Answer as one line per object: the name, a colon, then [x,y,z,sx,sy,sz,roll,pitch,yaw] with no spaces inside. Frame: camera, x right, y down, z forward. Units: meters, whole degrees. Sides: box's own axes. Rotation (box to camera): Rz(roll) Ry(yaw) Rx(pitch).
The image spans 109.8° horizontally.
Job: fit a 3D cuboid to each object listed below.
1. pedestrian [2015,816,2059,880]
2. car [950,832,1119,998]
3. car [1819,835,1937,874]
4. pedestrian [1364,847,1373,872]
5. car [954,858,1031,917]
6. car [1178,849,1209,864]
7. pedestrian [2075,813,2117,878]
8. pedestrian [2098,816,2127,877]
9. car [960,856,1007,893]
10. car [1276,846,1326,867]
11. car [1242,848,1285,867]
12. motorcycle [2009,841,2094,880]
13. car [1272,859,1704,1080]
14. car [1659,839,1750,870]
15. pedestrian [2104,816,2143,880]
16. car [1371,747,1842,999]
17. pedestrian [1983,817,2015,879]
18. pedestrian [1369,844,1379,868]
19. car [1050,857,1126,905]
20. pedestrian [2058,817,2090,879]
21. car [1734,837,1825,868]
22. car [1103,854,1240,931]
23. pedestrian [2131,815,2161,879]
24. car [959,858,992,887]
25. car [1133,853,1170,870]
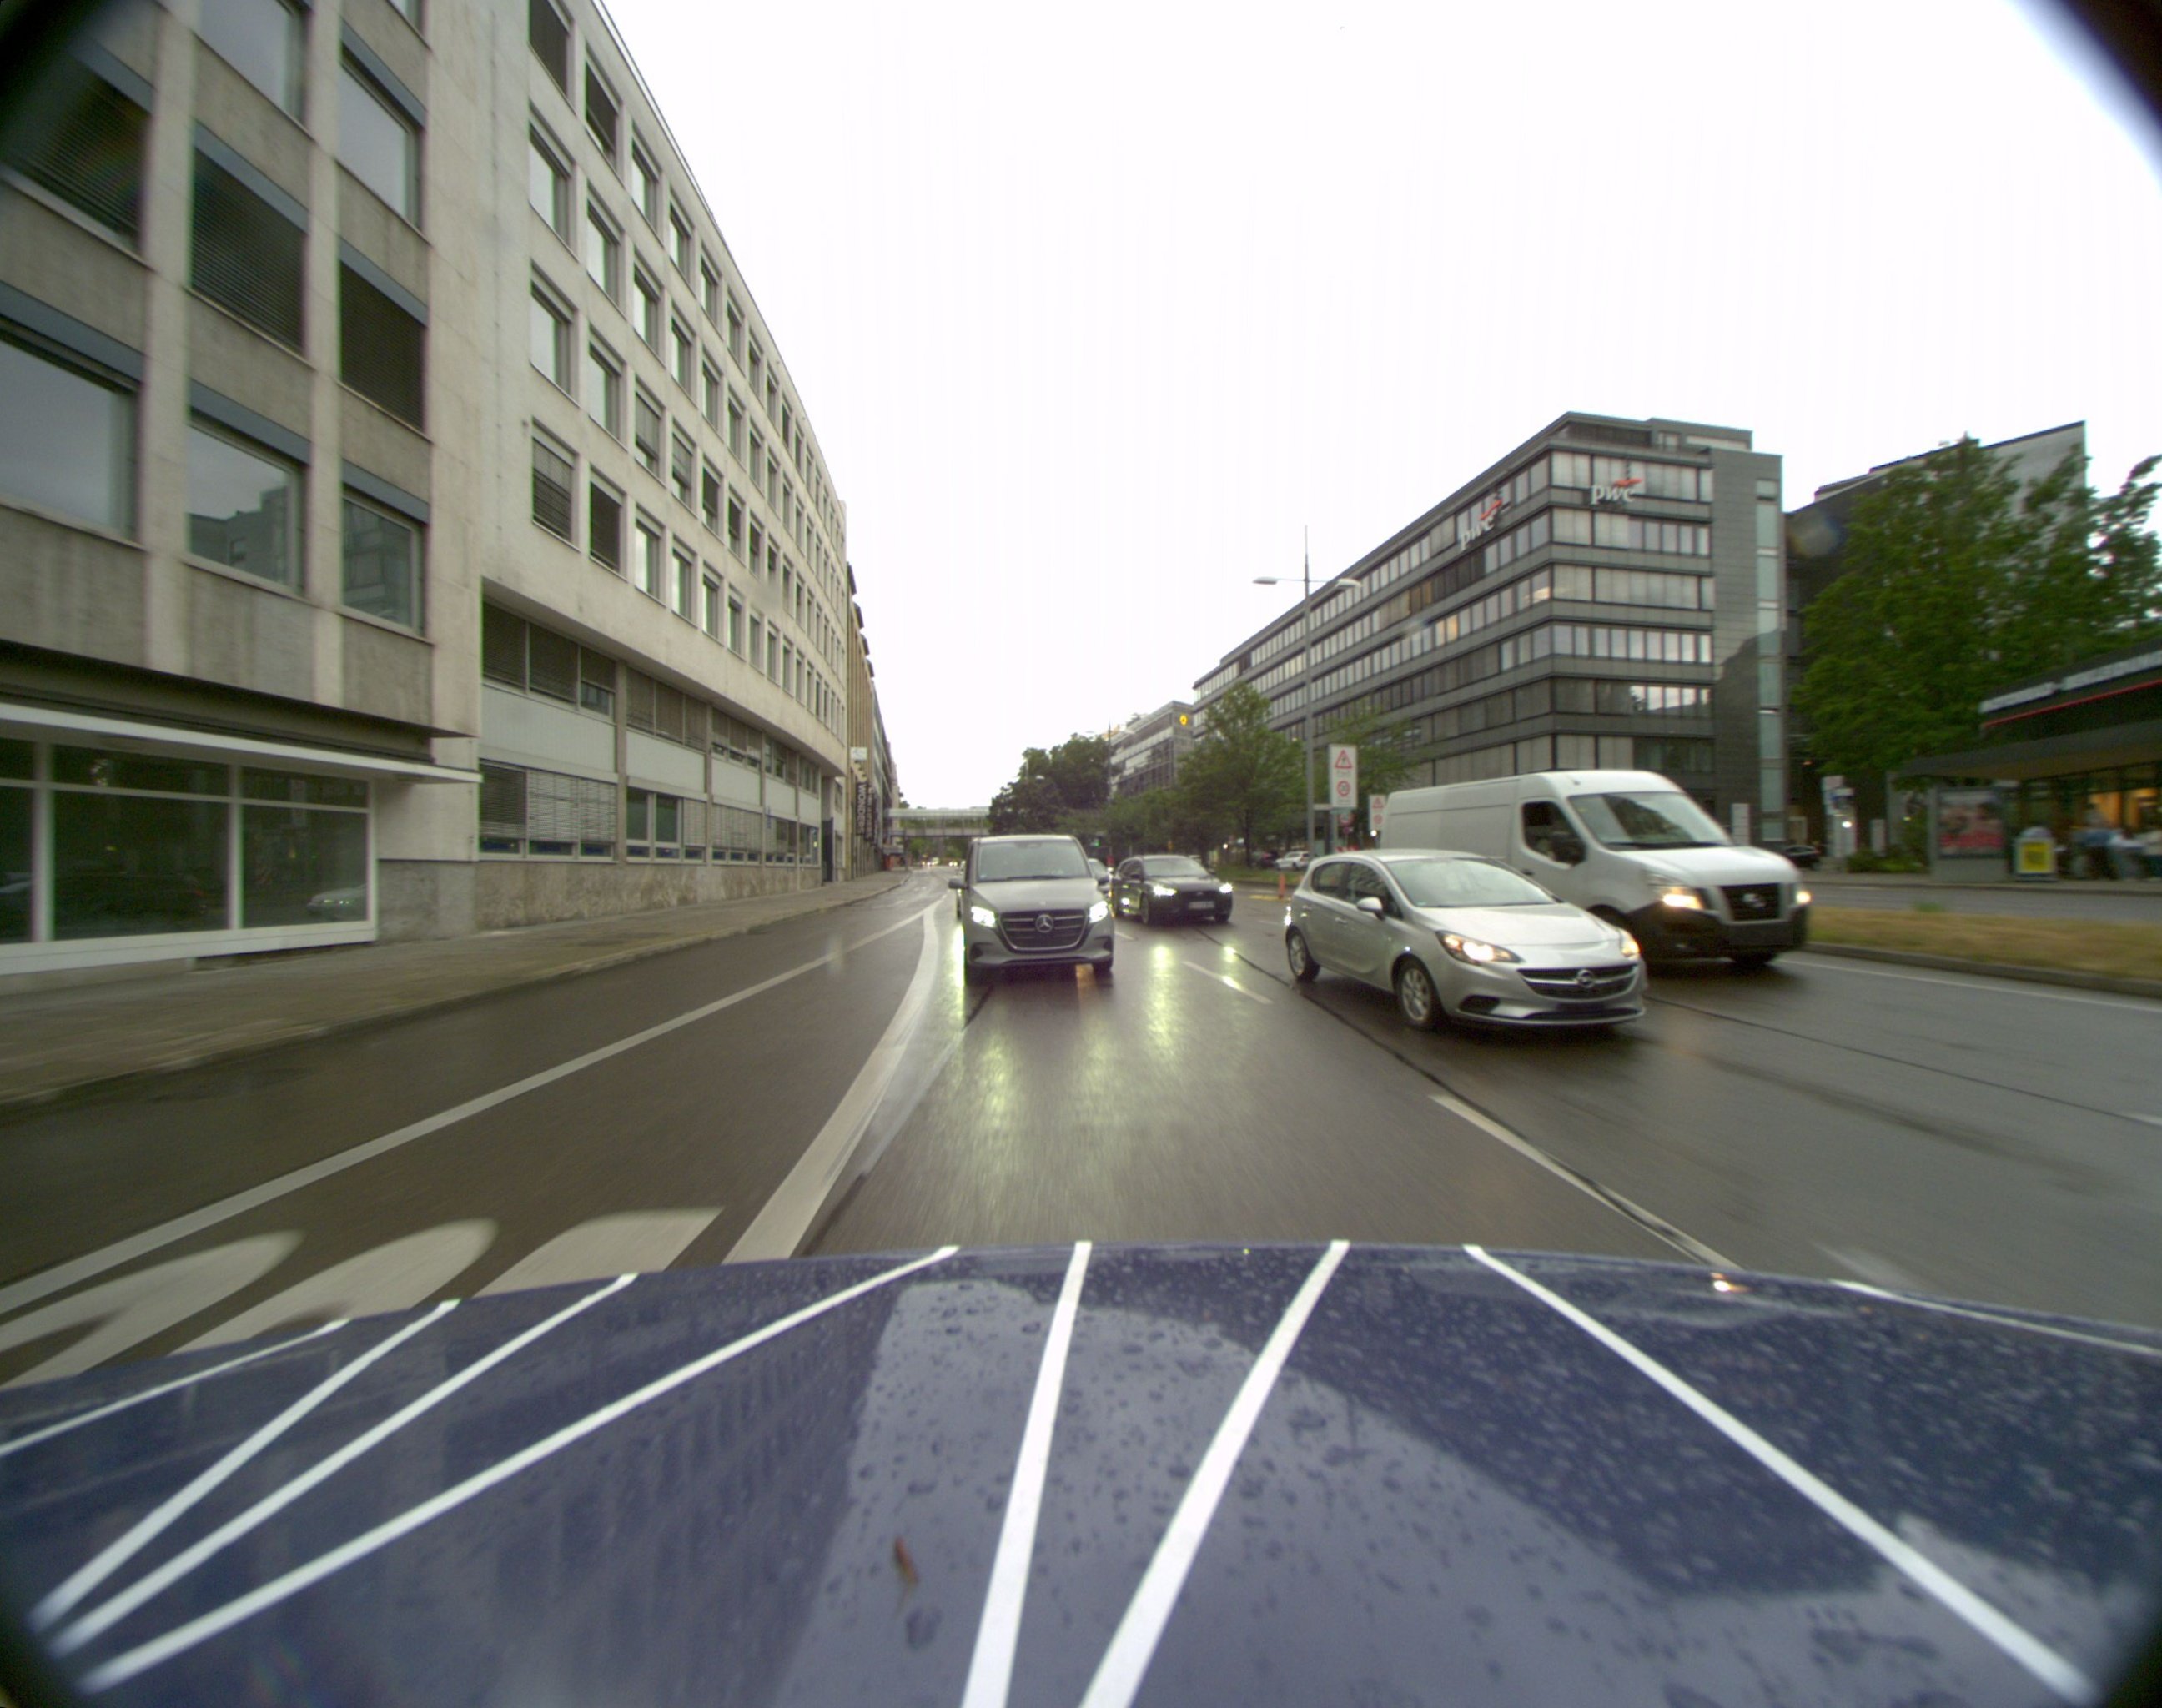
pedestrian: [26.991,-0.172,21.458,0.536,1.761,0.550,-2,1,12]
car: [-0.898,0.708,11.397,1.917,1.844,5.022,-2,0,-9]
car: [35.408,0.021,33.795,3.764,1.575,1.848,-2,0,-11]
pedestrian: [23.909,0.454,63.135,0.541,2.002,0.297,-2,1,-13]
car: [-2.545,0.872,21.541,1.931,1.471,3.997,-1,0,-8]
car: [12.032,0.276,81.269,2.000,1.498,3.996,-2,0,-12]
pedestrian: [28.320,-0.229,21.199,0.556,1.761,0.405,-2,1,12]
pedestrian: [30.040,-0.223,22.122,0.327,1.761,0.358,-2,1,12]
car: [-4.535,0.916,35.982,1.999,1.456,4.401,-2,1,-5]
car: [16.959,0.212,58.751,2.000,1.498,3.996,-2,0,-12]
car: [15.599,0.270,65.076,2.000,1.498,4.103,-2,0,-12]
motorcycle: [31.499,0.217,24.685,1.665,1.226,0.361,-2,1,43]
car: [3.341,0.801,7.198,1.653,1.427,3.872,-2,0,-7]
car: [33.990,0.018,41.475,3.764,1.575,1.848,-2,0,-11]
pedestrian: [29.139,-0.176,21.241,0.428,1.761,0.470,-2,1,12]
car: [6.319,0.171,10.267,1.952,2.426,5.475,-2,0,-9]
pedestrian: [26.609,-0.174,22.020,0.361,1.761,0.462,-2,1,12]
pedestrian: [24.947,0.156,64.705,0.575,2.002,0.461,-2,1,-13]
car: [0.130,0.812,24.809,1.777,1.372,4.091,-2,0,-9]
pedestrian: [28.902,-0.177,22.119,0.327,1.761,0.438,-2,1,10]
car: [38.982,-0.103,42.426,3.764,1.575,1.848,-2,0,-11]
car: [1.865,0.749,16.937,1.777,1.427,4.090,-2,0,-12]
pedestrian: [29.814,-0.199,21.180,0.428,1.761,0.470,-2,1,12]
car: [-5.982,1.019,43.155,1.723,1.456,4.033,-2,1,-8]
car: [6.055,0.614,65.762,1.752,1.365,3.994,-2,0,-16]
